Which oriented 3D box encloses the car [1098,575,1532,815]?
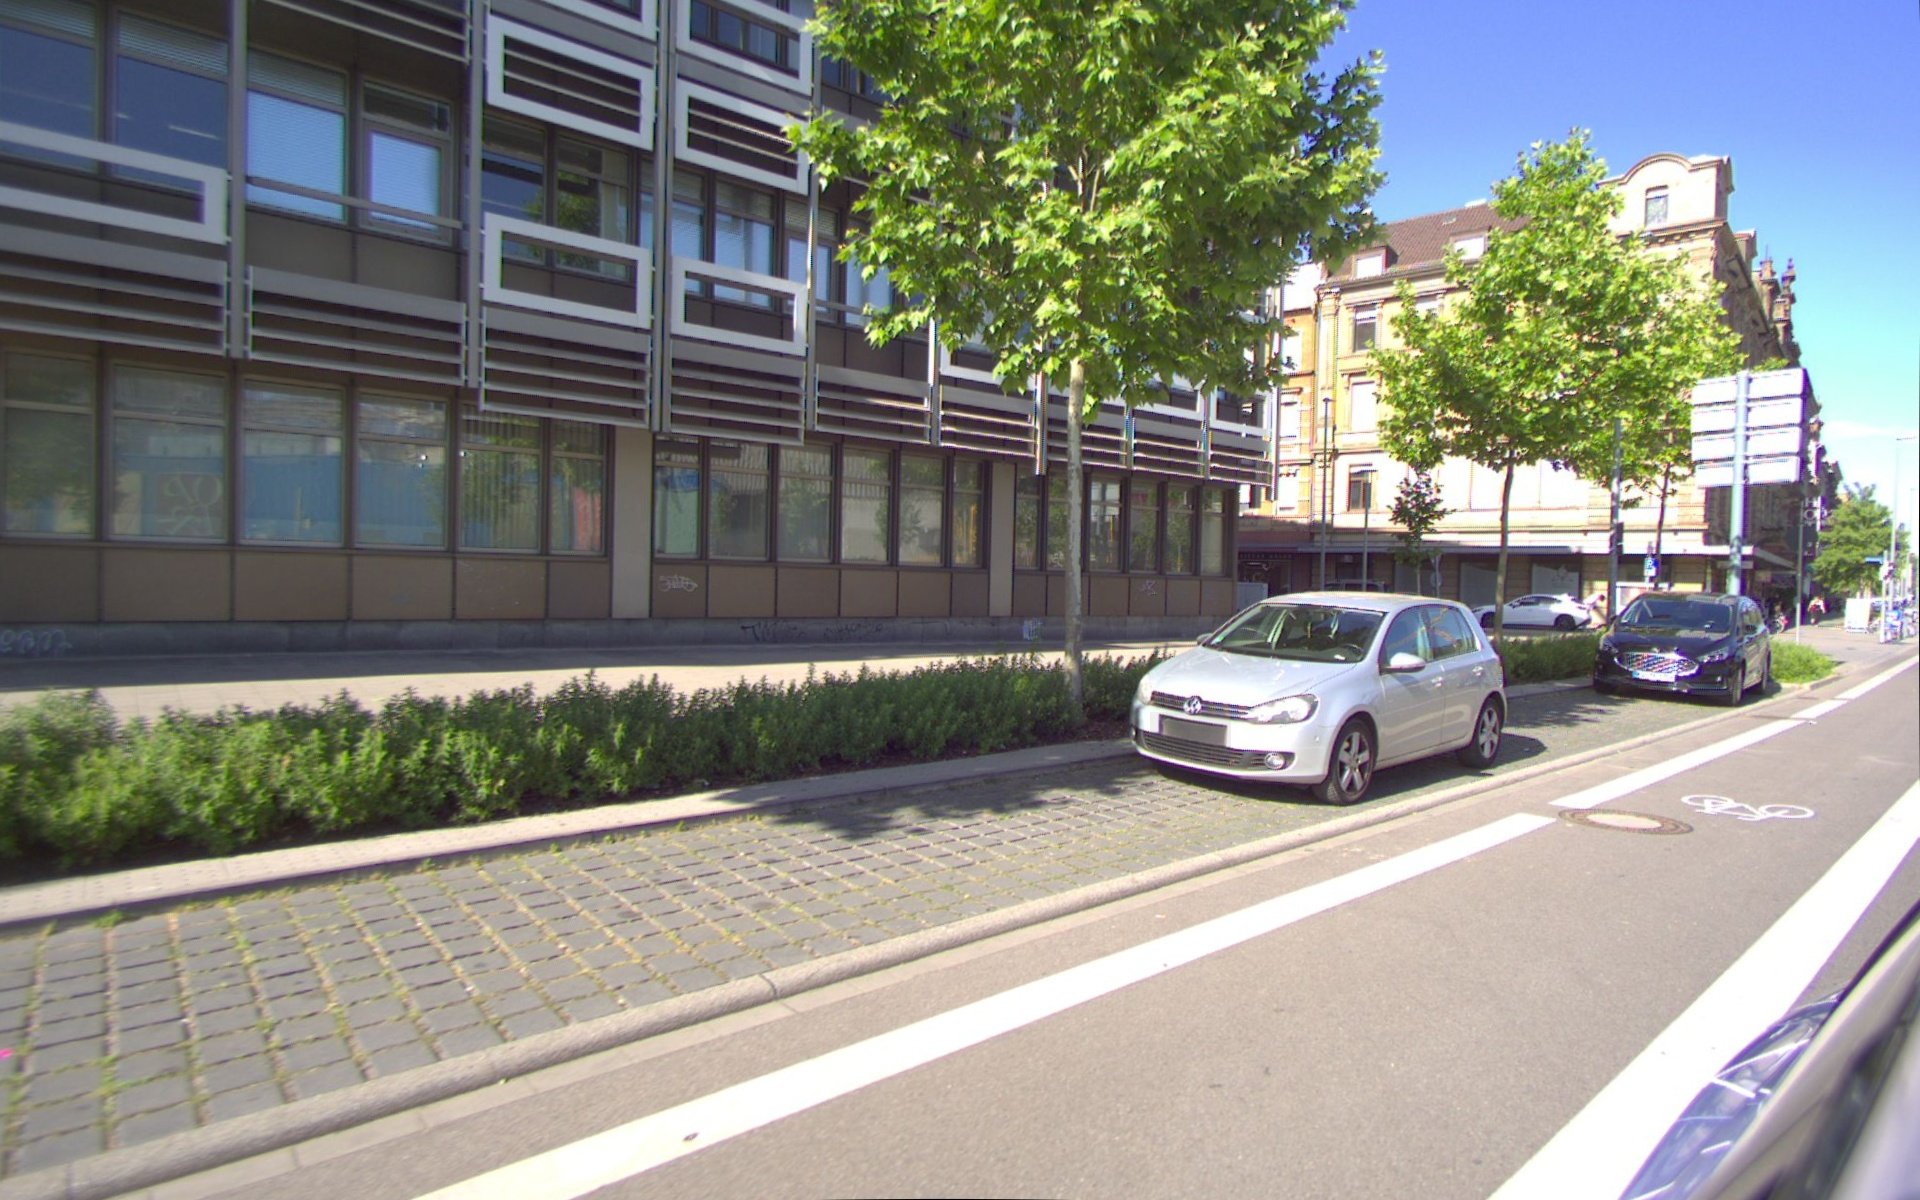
[{"bbox_3d":[3.133,0.601,8.474,4.083,1.483,1.621,0,3,-42],"label":"car"}]

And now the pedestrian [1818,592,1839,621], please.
[{"bbox_3d":[49.424,0.352,57.599,0.752,1.603,0.795,5,3,45],"label":"pedestrian"}]

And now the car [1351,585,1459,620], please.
[{"bbox_3d":[19.727,0.094,44.926,4.168,1.412,1.537,2,0,37],"label":"car"}]

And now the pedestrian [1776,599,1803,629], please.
[{"bbox_3d":[35.671,0.585,43.521,0.635,1.233,0.718,0,3,-39],"label":"pedestrian"}]

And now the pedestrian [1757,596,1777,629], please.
[{"bbox_3d":[35.713,0.559,44.787,0.573,1.411,0.638,4,3,43],"label":"pedestrian"}]

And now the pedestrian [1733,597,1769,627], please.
[{"bbox_3d":[34.137,0.503,43.671,1.073,1.233,0.691,5,4,45],"label":"pedestrian"}]

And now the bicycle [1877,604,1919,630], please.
[{"bbox_3d":[44.763,0.807,47.833,0.593,1.133,2.051,0,4,-45],"label":"bicycle"}]

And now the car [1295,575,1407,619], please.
[{"bbox_3d":[16.738,-0.157,43.446,4.145,1.774,1.793,2,1,38],"label":"car"}]

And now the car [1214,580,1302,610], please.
[{"bbox_3d":[14.549,-0.273,49.422,3.802,1.371,1.629,2,1,37],"label":"car"}]

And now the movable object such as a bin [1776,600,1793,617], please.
[{"bbox_3d":[48.483,0.503,59.531,0.577,0.986,0.692,0,1,-40],"label":"movable object such as a bin"}]

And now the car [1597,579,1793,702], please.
[{"bbox_3d":[11.852,0.546,16.207,4.395,1.679,1.749,0,1,-43],"label":"car"}]

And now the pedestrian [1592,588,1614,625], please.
[{"bbox_3d":[26.167,0.246,41.167,0.680,1.468,0.535,2,1,40],"label":"pedestrian"}]

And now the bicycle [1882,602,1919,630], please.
[{"bbox_3d":[46.782,0.788,49.887,1.866,1.267,0.681,6,4,44],"label":"bicycle"}]

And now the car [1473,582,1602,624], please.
[{"bbox_3d":[23.731,0.088,41.640,4.384,1.563,1.828,2,1,38],"label":"car"}]

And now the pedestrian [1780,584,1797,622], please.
[{"bbox_3d":[39.983,0.156,48.842,0.492,1.824,0.512,1,0,-37],"label":"pedestrian"}]

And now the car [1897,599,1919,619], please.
[{"bbox_3d":[78.646,0.754,83.620,1.665,1.603,3.689,-1,0,45],"label":"car"}]
